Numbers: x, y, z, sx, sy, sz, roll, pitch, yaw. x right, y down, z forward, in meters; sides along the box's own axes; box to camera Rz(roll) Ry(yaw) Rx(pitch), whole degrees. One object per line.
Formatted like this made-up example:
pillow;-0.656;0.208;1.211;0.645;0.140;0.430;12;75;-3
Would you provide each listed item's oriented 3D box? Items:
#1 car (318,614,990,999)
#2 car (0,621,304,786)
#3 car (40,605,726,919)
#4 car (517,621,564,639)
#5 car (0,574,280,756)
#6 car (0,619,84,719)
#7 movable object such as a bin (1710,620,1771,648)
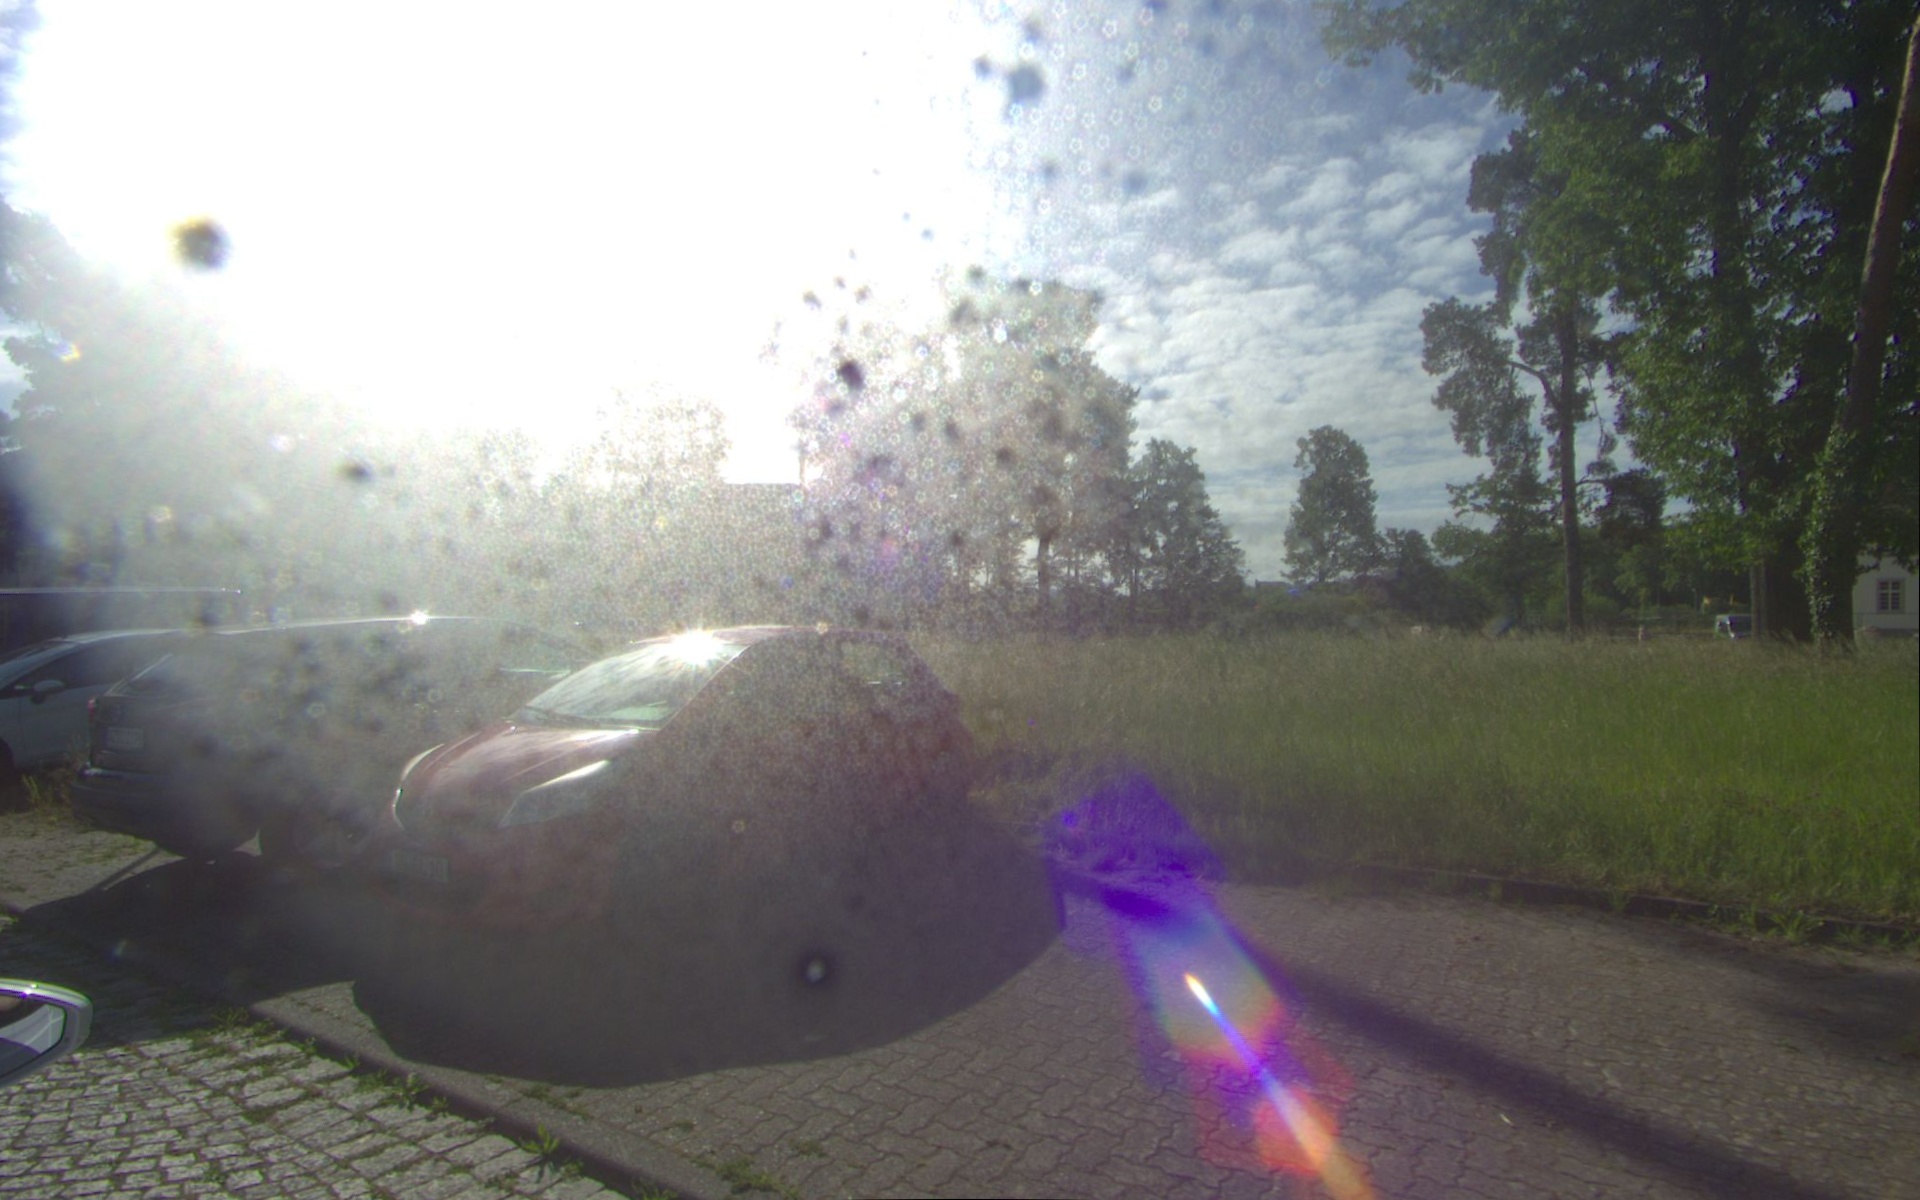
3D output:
car;-1.497;0.878;6.185;1.679;1.559;3.817;0;0;32
car;-9.282;1.004;10.492;1.585;1.486;3.715;0;0;30
car;-3.822;0.875;7.422;1.760;1.632;4.101;0;-1;30
car;-38.451;2.733;91.813;1.743;1.692;3.627;0;-1;34
car;-11.333;0.730;12.097;1.971;2.041;4.743;0;1;32
car;-15.661;1.045;14.925;1.611;1.511;3.638;0;-1;32
movable object such as a bin;58.022;2.478;74.580;2.087;2.040;5.724;0;-1;22
